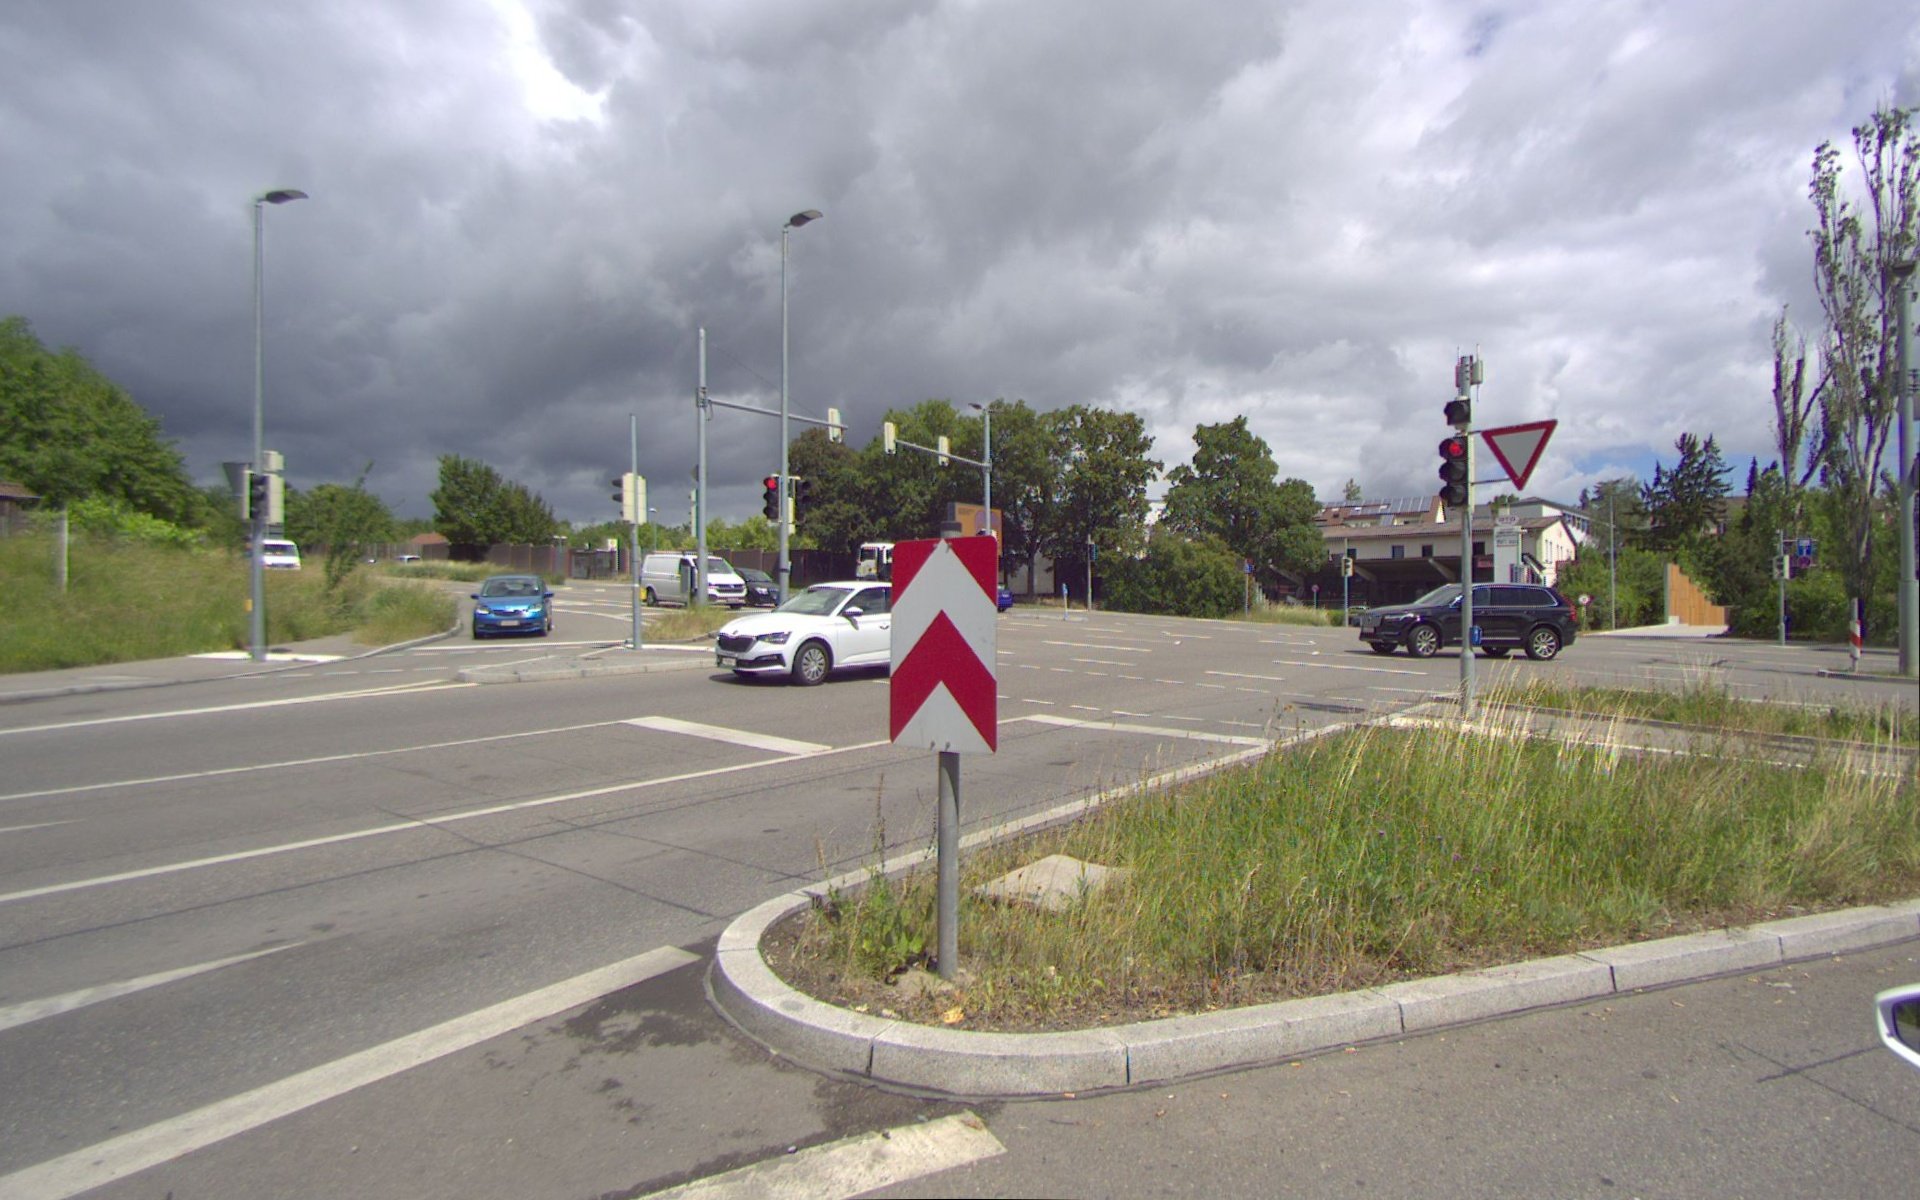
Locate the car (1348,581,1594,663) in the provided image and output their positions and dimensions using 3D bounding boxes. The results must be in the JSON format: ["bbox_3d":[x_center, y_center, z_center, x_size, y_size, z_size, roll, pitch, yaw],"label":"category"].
[{"bbox_3d":[12.075,0.500,23.908,4.887,1.712,1.909,2,2,-4],"label":"car"}]

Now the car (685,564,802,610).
[{"bbox_3d":[-8.719,-0.559,40.272,4.893,1.657,1.903,3,2,38],"label":"car"}]

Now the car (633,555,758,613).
[{"bbox_3d":[-9.806,-0.623,37.036,4.893,1.963,1.903,3,2,38],"label":"car"}]

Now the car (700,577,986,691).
[{"bbox_3d":[-1.680,0.450,15.581,1.600,1.489,4.350,4,2,45],"label":"car"}]

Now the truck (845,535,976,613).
[{"bbox_3d":[-2.736,-1.266,53.701,6.865,3.626,2.833,-3,-3,40],"label":"truck"}]

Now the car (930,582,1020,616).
[{"bbox_3d":[0.649,-0.061,45.571,3.940,1.419,1.688,2,1,41],"label":"car"}]

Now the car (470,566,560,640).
[{"bbox_3d":[-11.168,0.024,25.330,1.884,1.659,4.422,1,2,-23],"label":"car"}]

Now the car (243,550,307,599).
[{"bbox_3d":[-39.671,-1.478,58.106,2.150,2.686,5.750,0,2,-43],"label":"car"}]
